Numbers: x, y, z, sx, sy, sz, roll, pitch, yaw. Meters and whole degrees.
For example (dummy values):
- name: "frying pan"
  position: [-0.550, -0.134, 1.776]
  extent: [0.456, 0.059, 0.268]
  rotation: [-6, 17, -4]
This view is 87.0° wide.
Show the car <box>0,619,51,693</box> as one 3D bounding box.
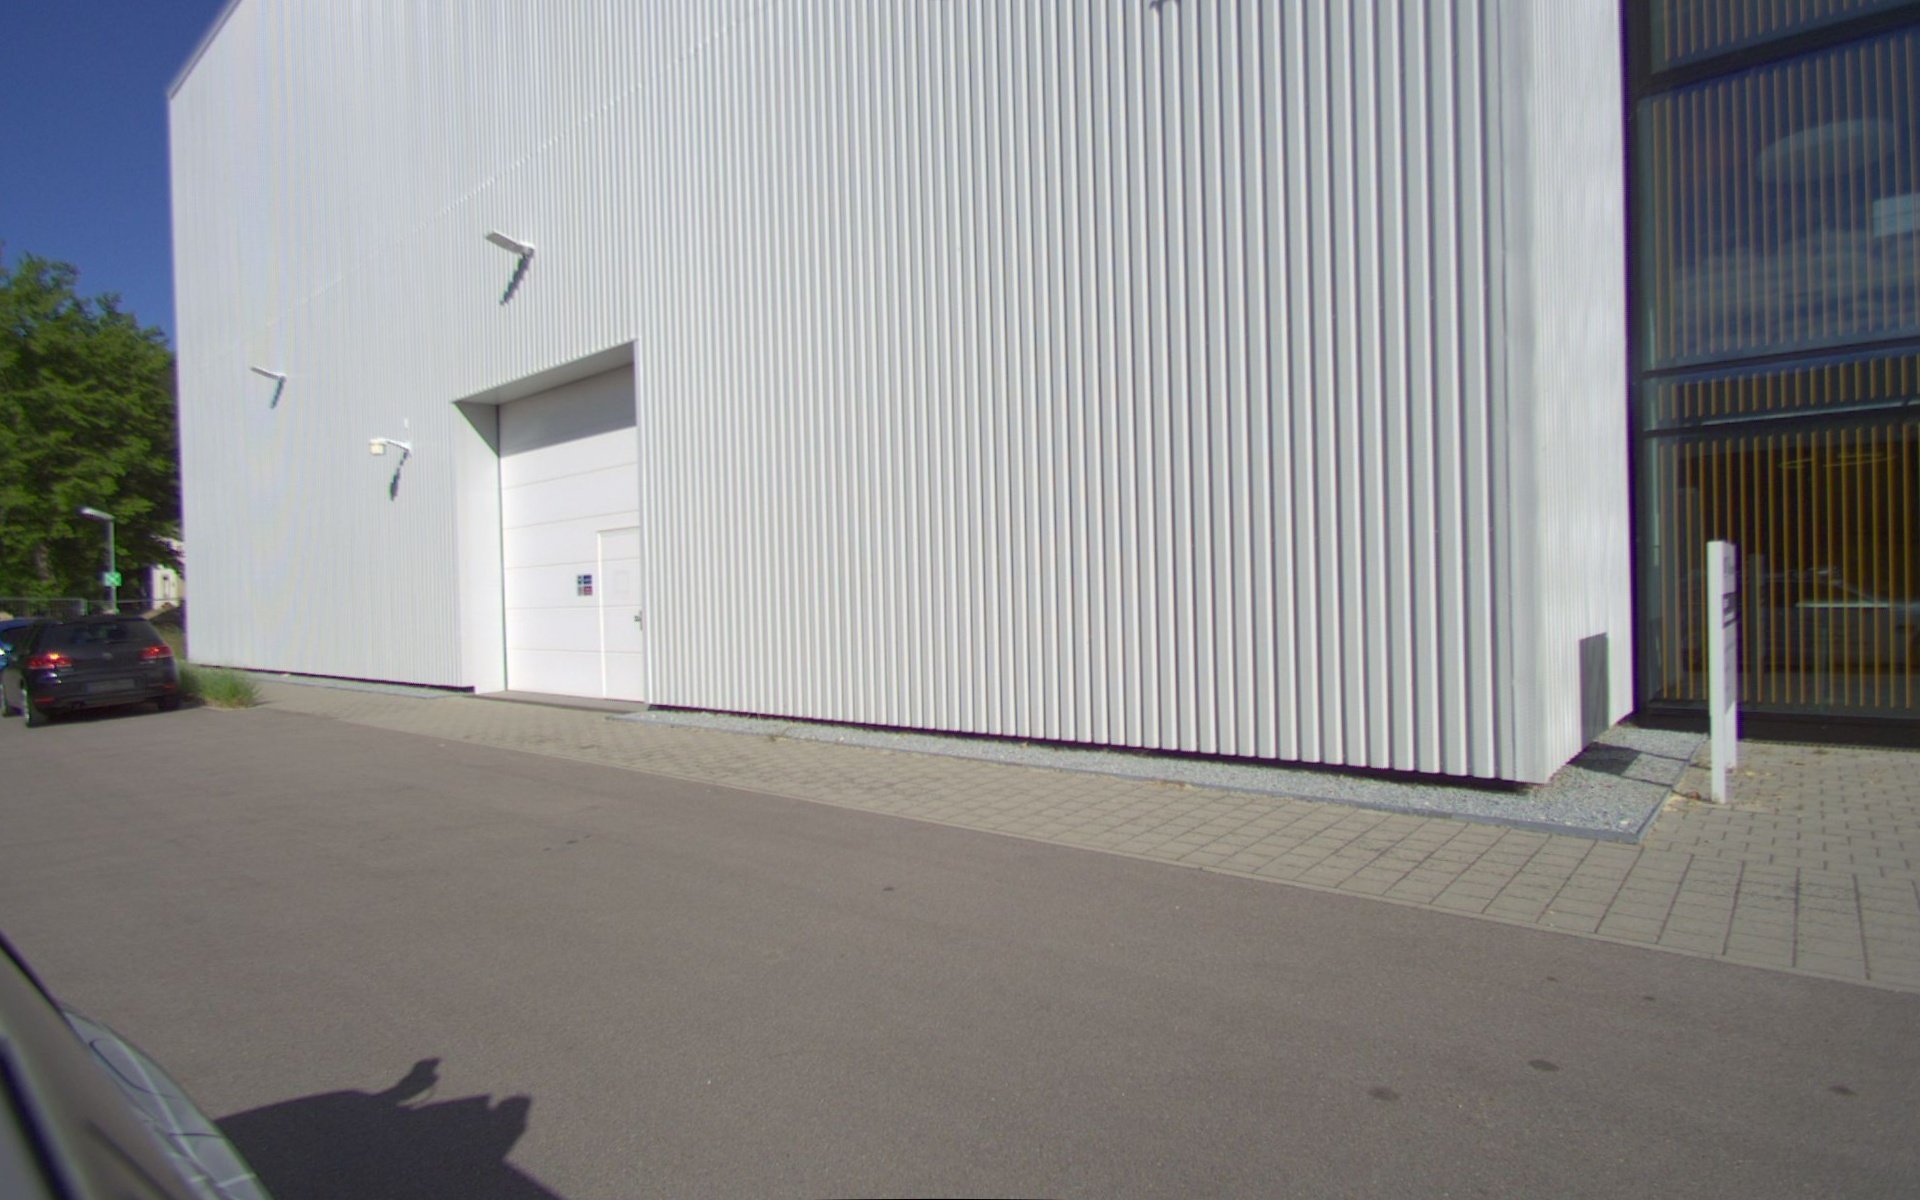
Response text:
- name: "car"
  position: [-20.997, 1.216, 21.661]
  extent: [3.794, 1.459, 1.695]
  rotation: [-2, 1, 39]

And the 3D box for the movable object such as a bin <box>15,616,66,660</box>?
- name: "movable object such as a bin"
  position: [-31.040, 1.275, 34.164]
  extent: [1.288, 1.445, 1.126]
  rotation: [-2, -2, 41]

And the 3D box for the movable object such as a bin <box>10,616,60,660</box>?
- name: "movable object such as a bin"
  position: [-32.058, 1.307, 35.070]
  extent: [1.279, 1.489, 1.126]
  rotation: [-3, -3, 41]

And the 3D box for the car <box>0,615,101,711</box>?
- name: "car"
  position: [-16.804, 1.092, 18.093]
  extent: [3.518, 1.499, 1.533]
  rotation: [-2, 1, 39]

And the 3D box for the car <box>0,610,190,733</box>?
- name: "car"
  position: [-13.136, 0.989, 15.089]
  extent: [4.312, 1.456, 1.738]
  rotation: [-2, 2, 41]
